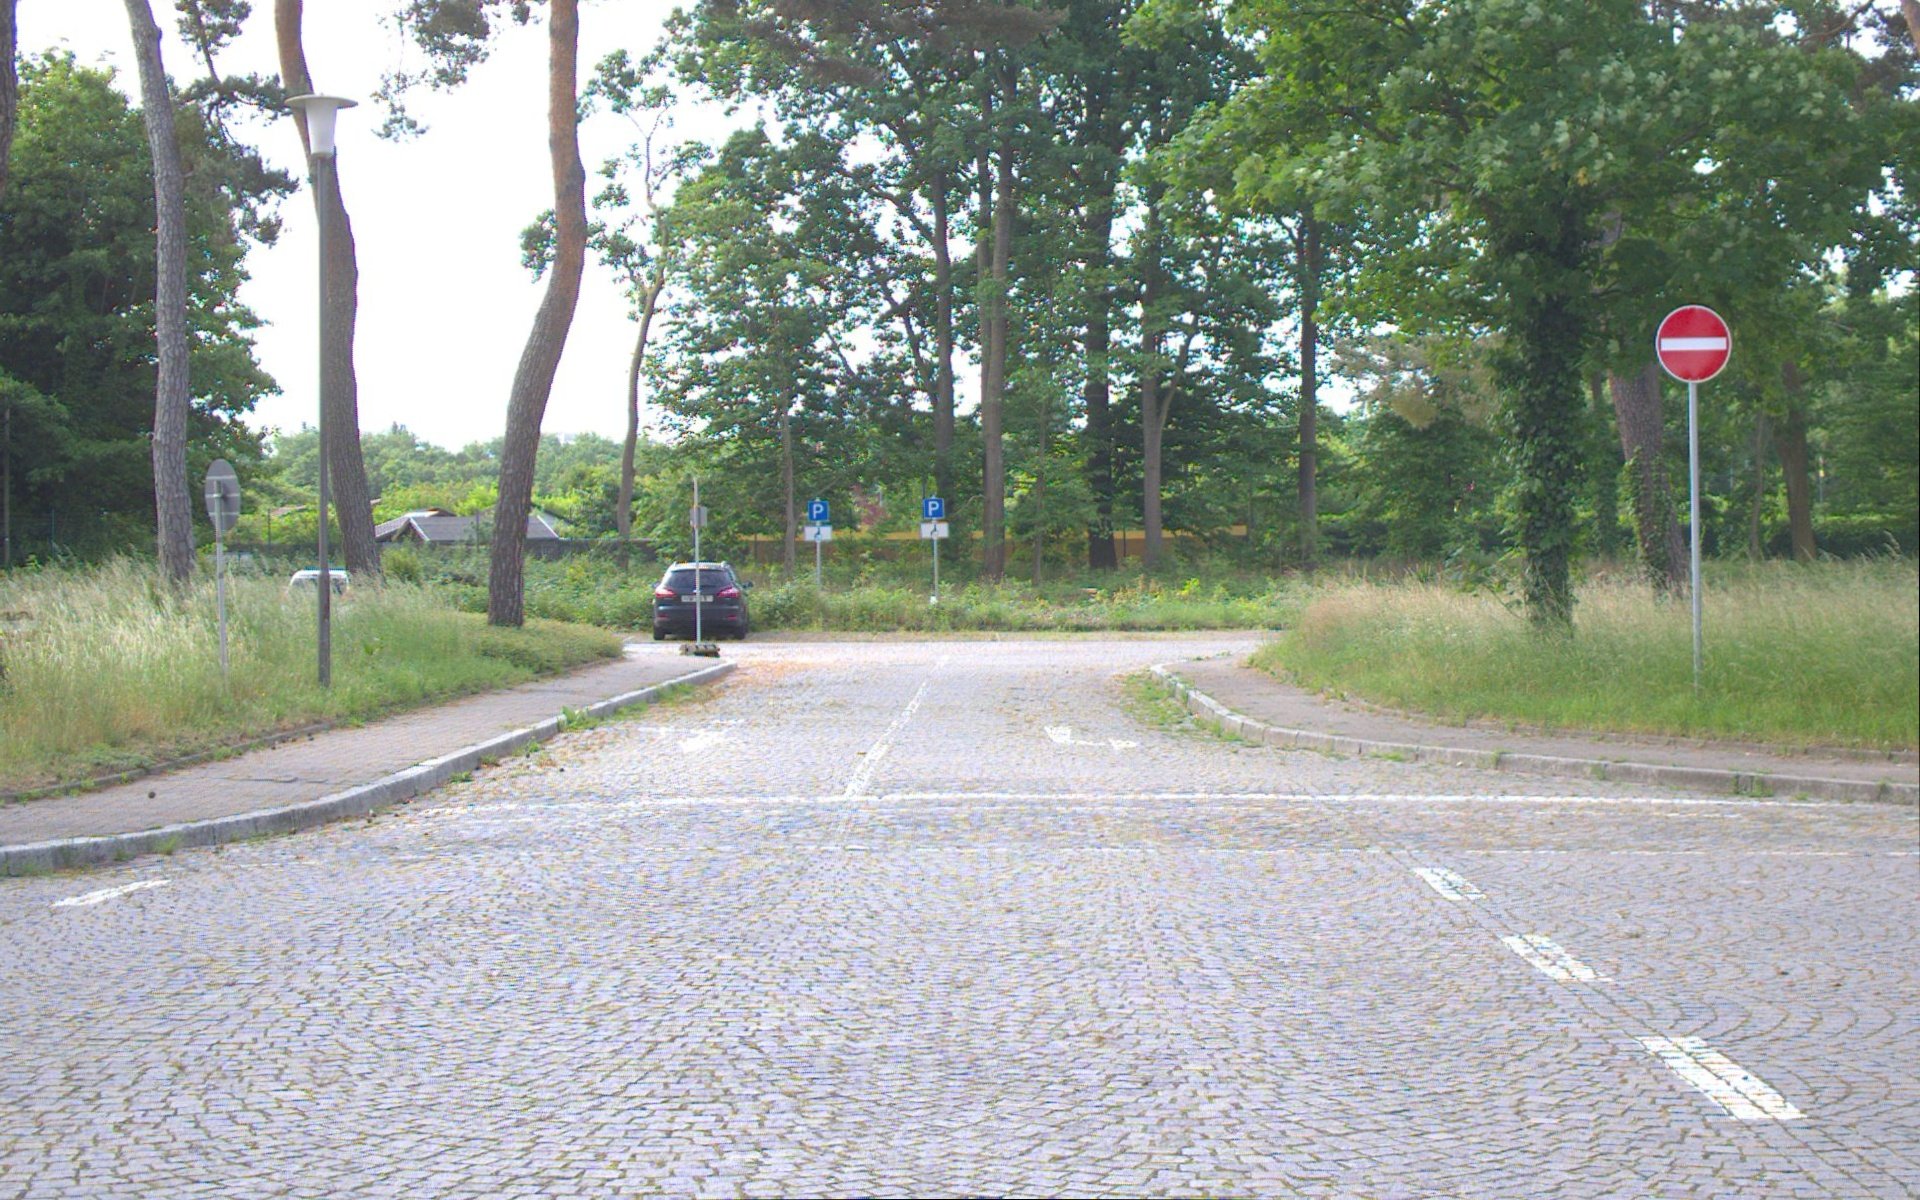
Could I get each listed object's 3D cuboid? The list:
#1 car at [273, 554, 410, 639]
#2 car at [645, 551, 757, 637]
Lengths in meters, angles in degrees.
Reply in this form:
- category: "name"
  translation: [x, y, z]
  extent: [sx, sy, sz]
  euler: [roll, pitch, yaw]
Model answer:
- category: "car"
  translation: [-12.543, -0.102, 69.918]
  extent: [1.711, 1.605, 4.057]
  euler: [1, 1, 5]
- category: "car"
  translation: [-5.175, -0.140, 69.099]
  extent: [1.711, 1.605, 4.058]
  euler: [1, 1, 3]
